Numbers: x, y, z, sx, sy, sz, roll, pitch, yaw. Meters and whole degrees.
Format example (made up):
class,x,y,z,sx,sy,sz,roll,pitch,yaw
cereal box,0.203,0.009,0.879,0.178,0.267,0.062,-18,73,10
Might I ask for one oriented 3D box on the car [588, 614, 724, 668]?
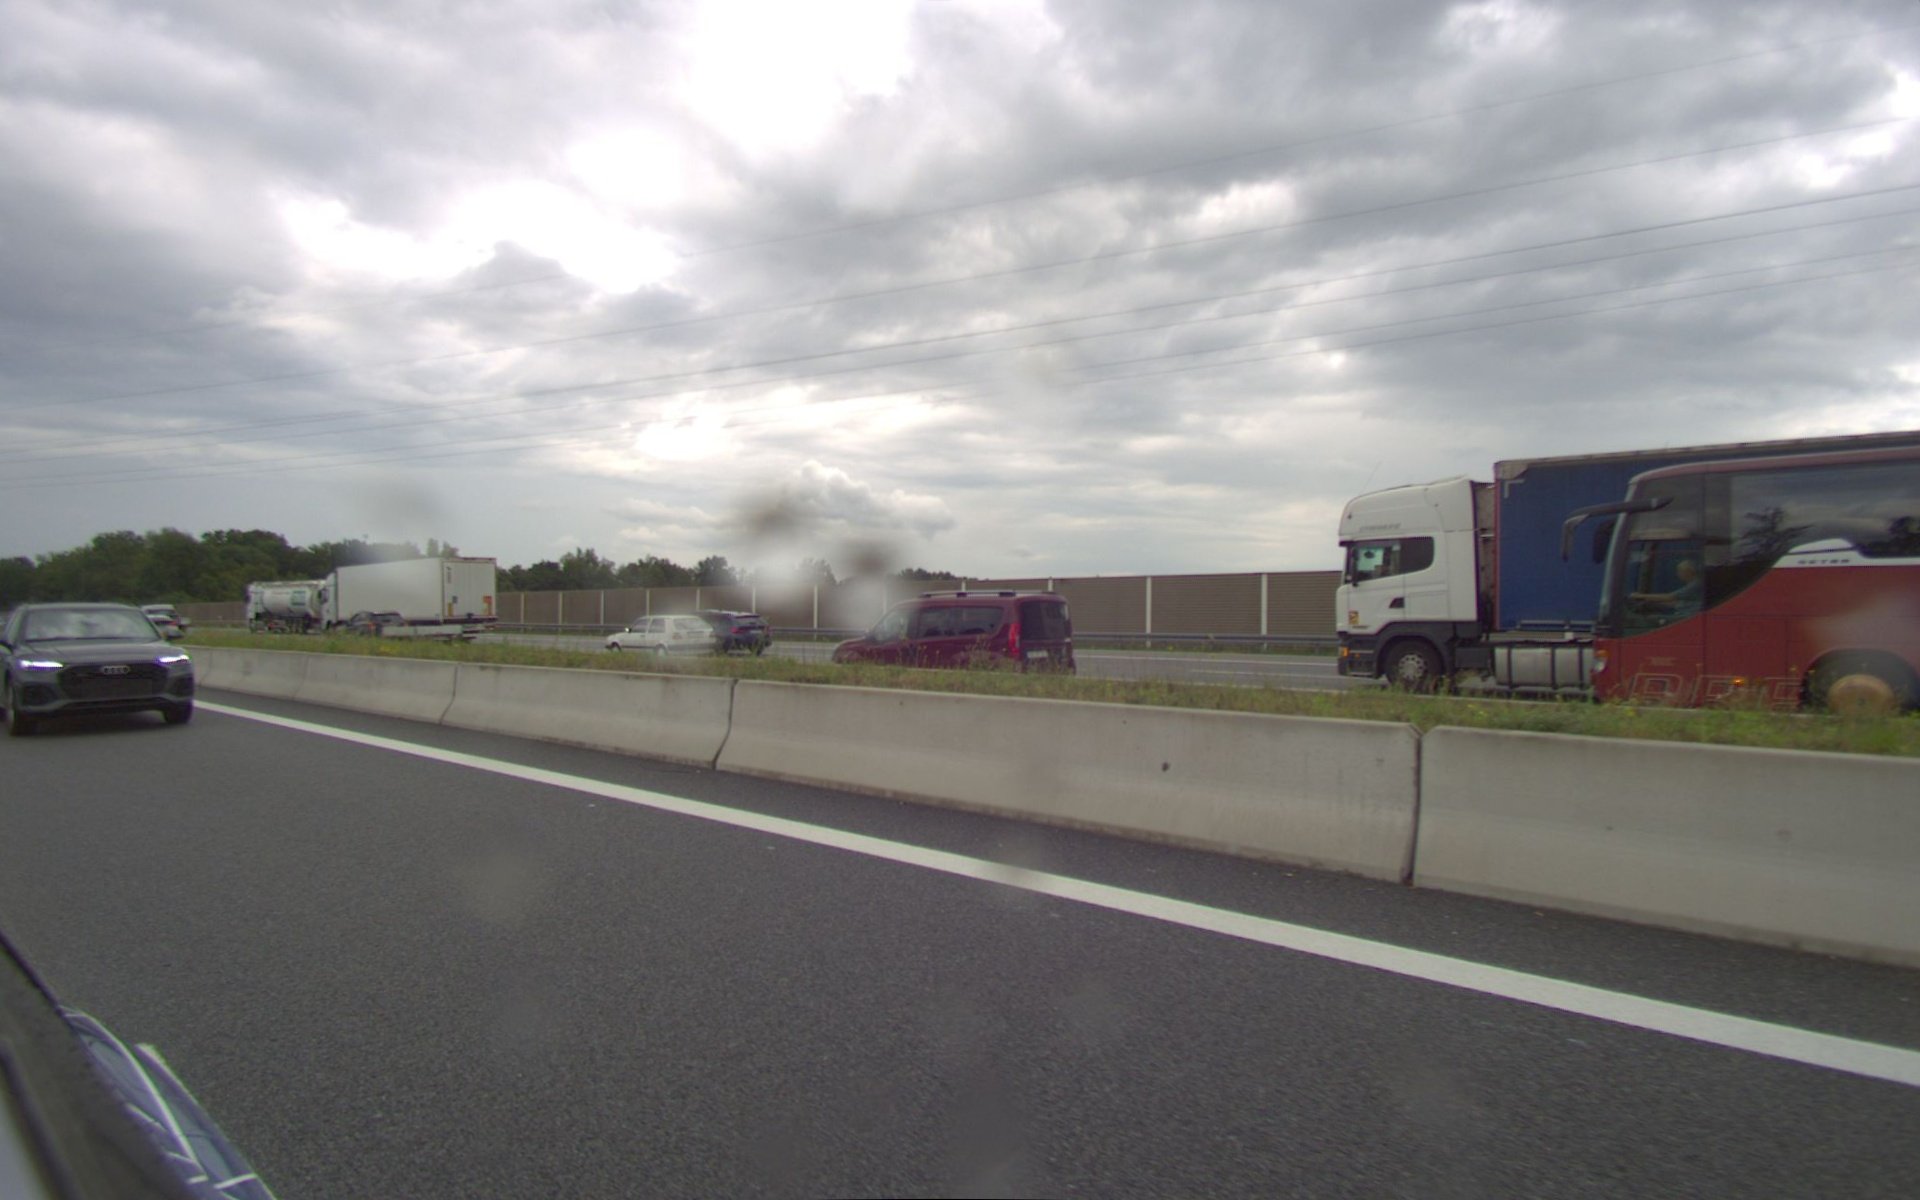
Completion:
class,x,y,z,sx,sy,sz,roll,pitch,yaw
car,-9.309,1.194,30.785,4.562,1.466,1.769,-1,0,40

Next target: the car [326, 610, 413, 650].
class,x,y,z,sx,sy,sz,roll,pitch,yaw
car,-25.640,1.271,43.884,4.561,1.574,1.770,-1,0,40

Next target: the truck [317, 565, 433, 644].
class,x,y,z,sx,sy,sz,roll,pitch,yaw
truck,-32.261,0.223,55.714,6.521,4.078,3.622,-1,0,41

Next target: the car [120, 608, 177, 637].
class,x,y,z,sx,sy,sz,roll,pitch,yaw
car,-58.217,1.598,72.552,6.085,1.982,2.256,-1,0,42

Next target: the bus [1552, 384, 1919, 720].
class,x,y,z,sx,sy,sz,roll,pitch,yaw
bus,13.522,-0.579,10.174,12.750,3.638,2.860,-1,0,40

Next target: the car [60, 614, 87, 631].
class,x,y,z,sx,sy,sz,roll,pitch,yaw
car,-110.138,2.749,125.727,4.938,1.982,1.748,-1,0,40

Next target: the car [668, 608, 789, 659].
class,x,y,z,sx,sy,sz,roll,pitch,yaw
car,-7.941,1.112,34.534,4.382,1.603,1.769,-1,0,40

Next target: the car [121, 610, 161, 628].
class,x,y,z,sx,sy,sz,roll,pitch,yaw
car,-70.236,1.597,86.779,4.561,1.480,1.770,-1,0,40

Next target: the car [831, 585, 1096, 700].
class,x,y,z,sx,sy,sz,roll,pitch,yaw
car,-0.032,0.638,16.943,4.293,1.678,1.769,-1,0,40

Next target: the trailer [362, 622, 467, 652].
class,x,y,z,sx,sy,sz,roll,pitch,yaw
trailer,-22.062,1.447,40.864,4.755,1.078,2.072,-1,0,40

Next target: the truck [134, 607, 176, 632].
class,x,y,z,sx,sy,sz,roll,pitch,yaw
truck,-80.986,1.959,101.733,6.259,2.470,2.081,-1,0,40

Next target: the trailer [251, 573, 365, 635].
class,x,y,z,sx,sy,sz,roll,pitch,yaw
trailer,-48.468,0.326,75.022,12.458,4.268,3.623,-1,0,40

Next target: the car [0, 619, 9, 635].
class,x,y,z,sx,sy,sz,roll,pitch,yaw
car,-93.006,2.583,97.023,4.735,1.538,1.974,-1,0,39

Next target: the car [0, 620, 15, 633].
class,x,y,z,sx,sy,sz,roll,pitch,yaw
car,-112.609,3.056,118.887,4.229,1.465,1.748,-1,0,40

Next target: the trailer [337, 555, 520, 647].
class,x,y,z,sx,sy,sz,roll,pitch,yaw
trailer,-27.158,0.106,51.178,13.393,4.139,3.622,-1,0,41

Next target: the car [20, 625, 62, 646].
class,x,y,z,sx,sy,sz,roll,pitch,yaw
car,-70.846,2.703,78.014,4.561,1.465,1.770,-1,0,40

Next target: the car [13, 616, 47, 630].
class,x,y,z,sx,sy,sz,roll,pitch,yaw
car,-97.381,2.396,105.921,4.938,1.465,1.945,-1,0,40

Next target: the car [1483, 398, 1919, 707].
class,x,y,z,sx,sy,sz,roll,pitch,yaw
car,15.270,-0.689,13.548,14.385,4.155,2.952,-1,0,41

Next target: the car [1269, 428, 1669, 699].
class,x,y,z,sx,sy,sz,roll,pitch,yaw
car,9.249,-0.548,18.711,6.038,4.181,2.952,-1,0,40

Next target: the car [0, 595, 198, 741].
class,x,y,z,sx,sy,sz,roll,pitch,yaw
car,-12.532,0.829,14.318,5.168,1.704,1.888,-1,0,42

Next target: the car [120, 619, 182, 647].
class,x,y,z,sx,sy,sz,roll,pitch,yaw
car,-44.287,1.780,55.383,4.561,1.465,1.770,-1,0,40

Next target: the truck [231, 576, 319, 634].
class,x,y,z,sx,sy,sz,roll,pitch,yaw
truck,-54.005,0.397,79.743,8.232,4.351,3.623,-1,0,40

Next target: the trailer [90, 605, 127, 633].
class,x,y,z,sx,sy,sz,roll,pitch,yaw
trailer,-95.386,2.098,113.350,4.896,2.984,2.225,-1,0,40
